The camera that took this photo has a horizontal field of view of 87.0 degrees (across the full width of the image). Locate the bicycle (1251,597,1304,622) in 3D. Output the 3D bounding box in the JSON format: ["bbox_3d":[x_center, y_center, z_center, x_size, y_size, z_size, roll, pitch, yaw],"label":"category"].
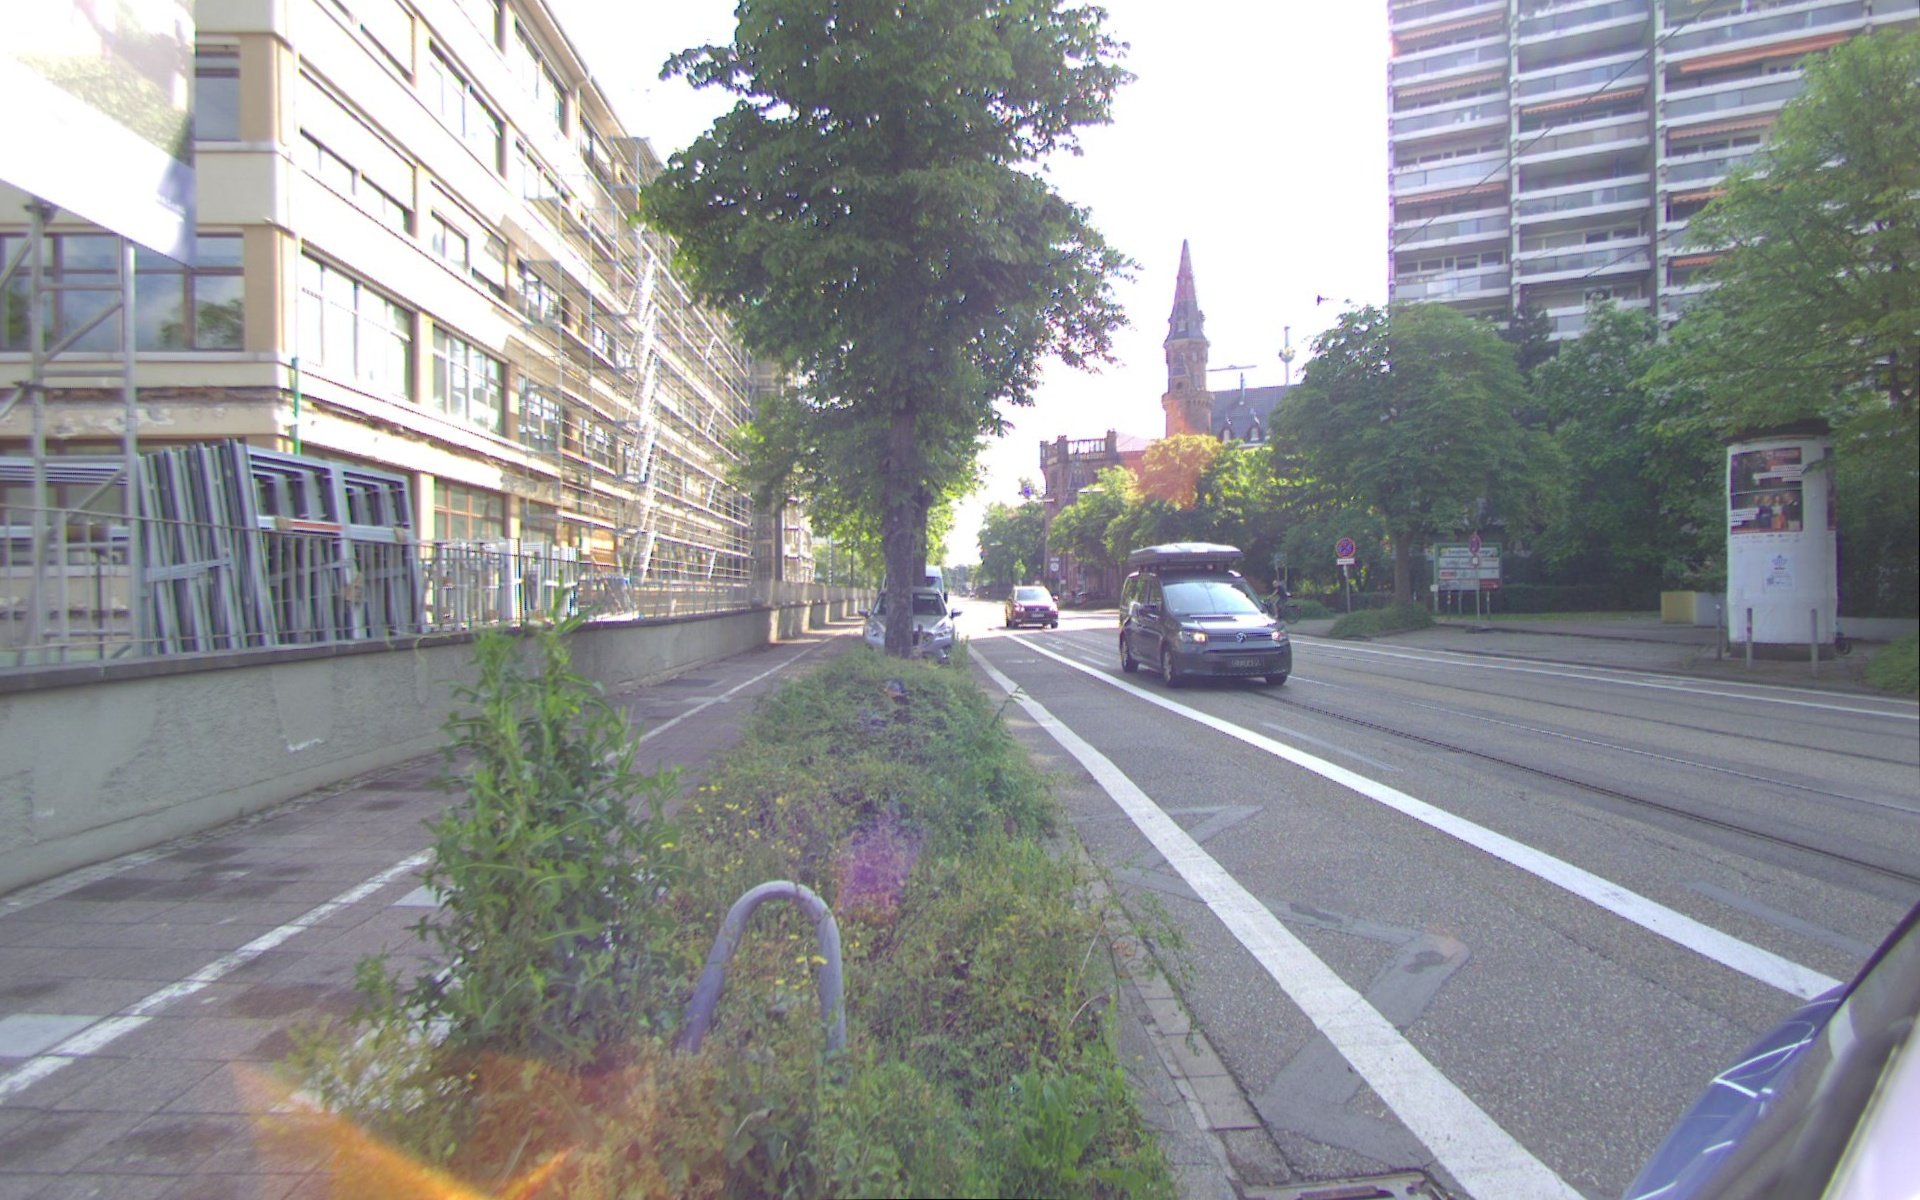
[{"bbox_3d":[12.742,0.371,40.608,1.973,0.993,0.561,0,-1,40],"label":"bicycle"}]

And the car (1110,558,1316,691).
[{"bbox_3d":[3.895,0.306,16.521,1.909,1.796,4.840,-2,1,-2],"label":"car"}]

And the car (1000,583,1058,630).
[{"bbox_3d":[2.706,0.233,40.651,1.647,1.631,3.974,-6,1,-4],"label":"car"}]

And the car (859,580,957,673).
[{"bbox_3d":[-1.038,0.536,20.512,1.736,1.627,4.459,2,-2,-3],"label":"car"}]

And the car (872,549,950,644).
[{"bbox_3d":[-1.524,-0.091,31.565,2.088,2.600,5.921,2,-1,-3],"label":"car"}]

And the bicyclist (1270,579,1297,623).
[{"bbox_3d":[12.933,0.041,40.460,0.778,1.762,0.715,-1,-1,41],"label":"bicyclist"}]
